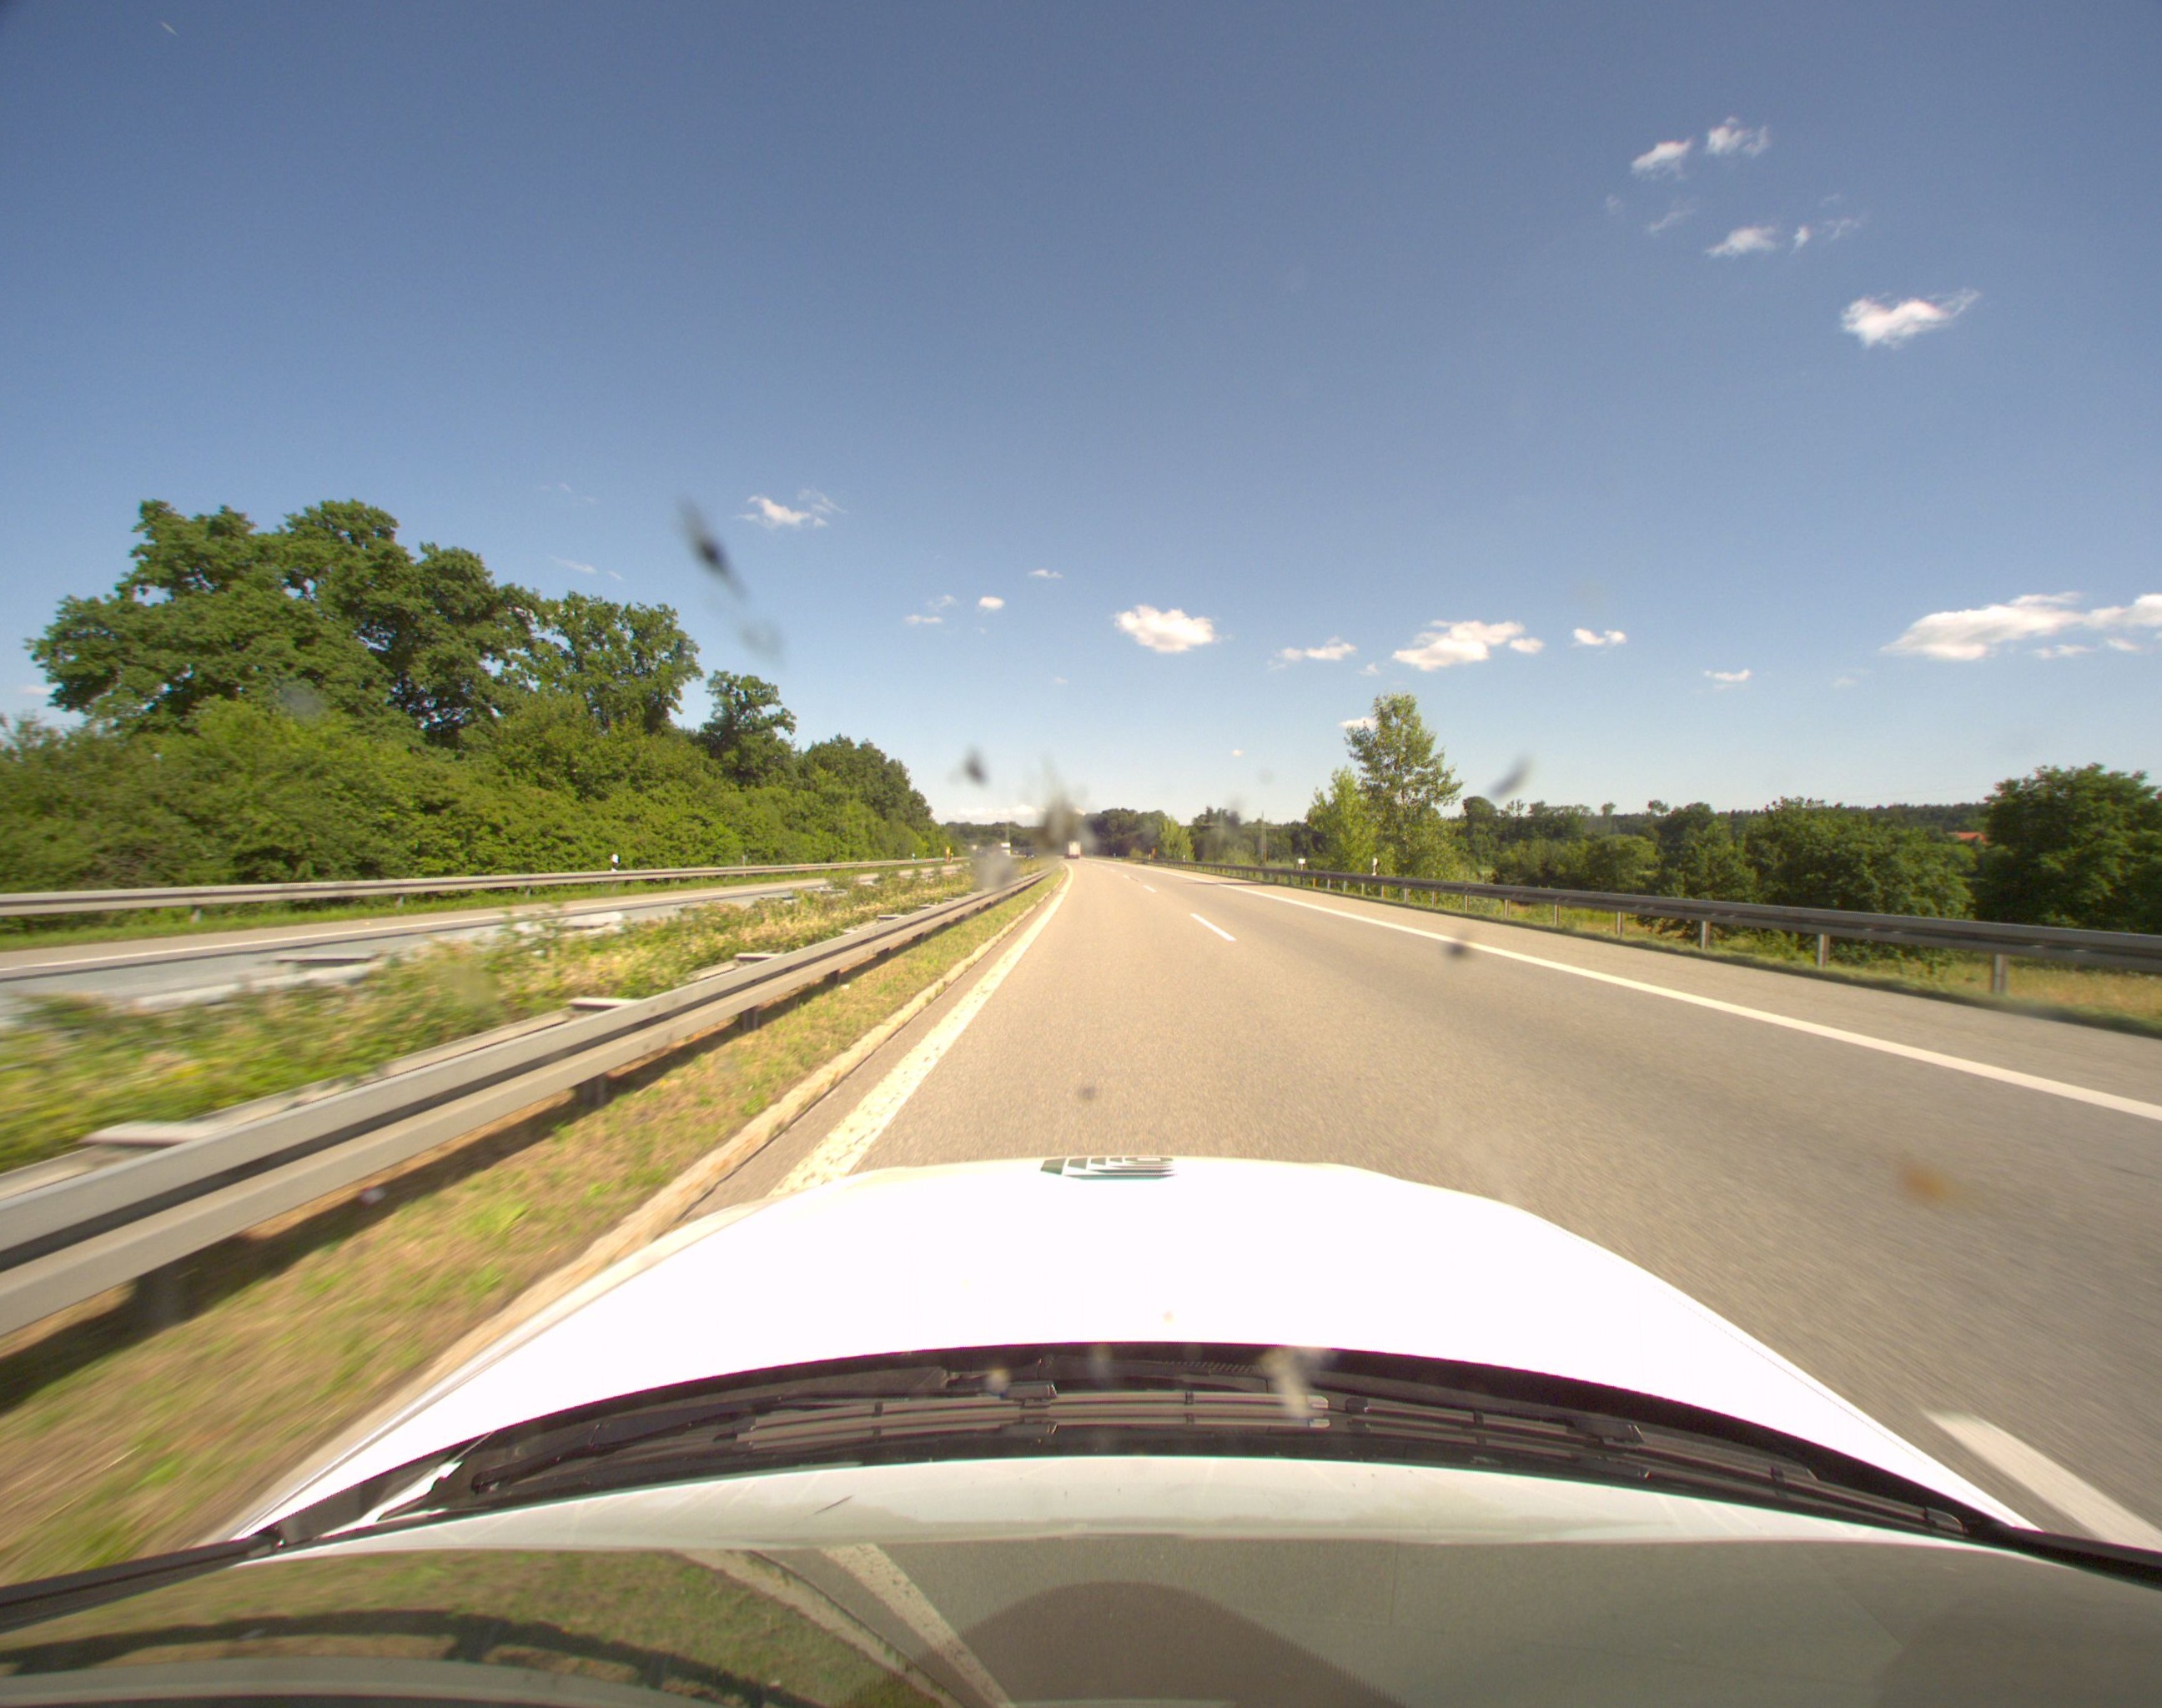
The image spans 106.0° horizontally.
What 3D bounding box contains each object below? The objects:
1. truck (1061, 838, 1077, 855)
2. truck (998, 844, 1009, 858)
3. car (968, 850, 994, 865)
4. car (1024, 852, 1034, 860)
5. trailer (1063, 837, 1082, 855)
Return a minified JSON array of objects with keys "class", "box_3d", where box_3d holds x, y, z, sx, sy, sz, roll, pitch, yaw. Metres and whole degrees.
[{"class":"truck","box_3d":[-2.988,-1.754,195.633,2.830,4.012,6.564,-1,0,-10]},{"class":"truck","box_3d":[-21.383,-0.891,224.470,2.739,3.727,5.957,-1,0,-7]},{"class":"car","box_3d":[-10.041,0.286,82.023,1.987,1.432,4.485,-1,0,-1]},{"class":"car","box_3d":[-9.555,0.414,150.534,1.727,1.428,3.873,-1,0,-6]},{"class":"trailer","box_3d":[-2.060,-1.763,189.231,2.882,4.066,12.387,-1,0,-8]}]
